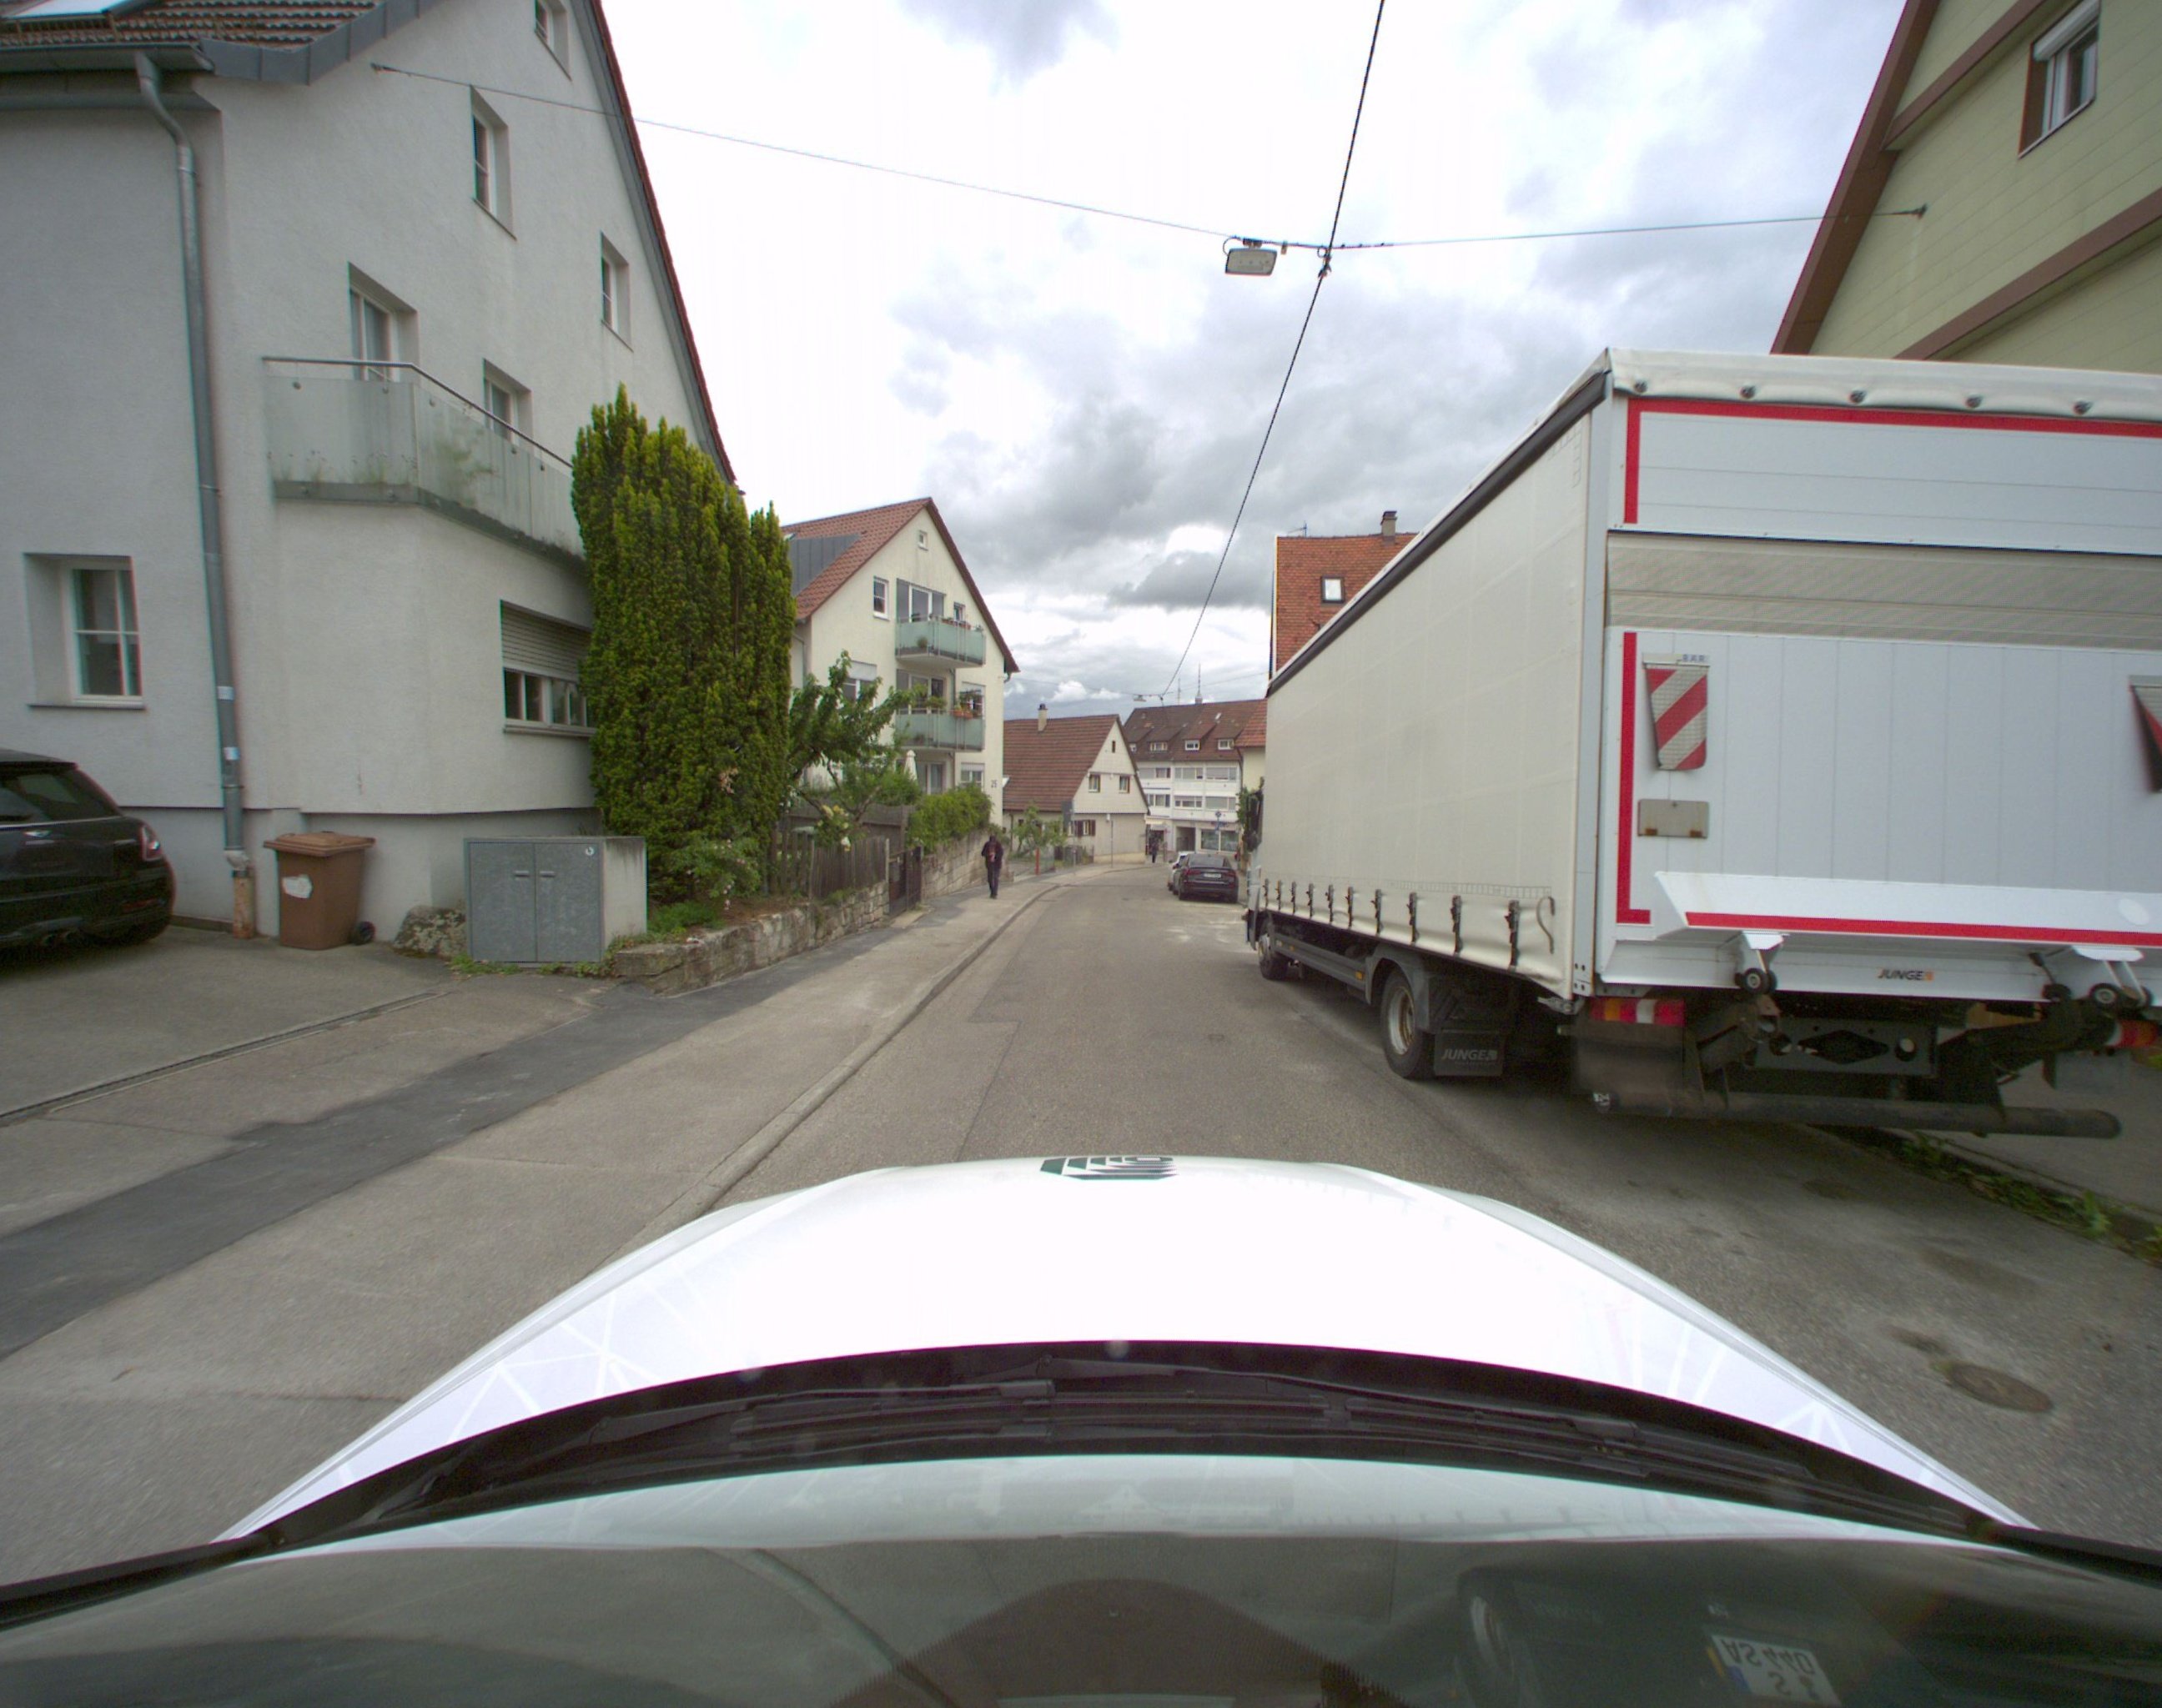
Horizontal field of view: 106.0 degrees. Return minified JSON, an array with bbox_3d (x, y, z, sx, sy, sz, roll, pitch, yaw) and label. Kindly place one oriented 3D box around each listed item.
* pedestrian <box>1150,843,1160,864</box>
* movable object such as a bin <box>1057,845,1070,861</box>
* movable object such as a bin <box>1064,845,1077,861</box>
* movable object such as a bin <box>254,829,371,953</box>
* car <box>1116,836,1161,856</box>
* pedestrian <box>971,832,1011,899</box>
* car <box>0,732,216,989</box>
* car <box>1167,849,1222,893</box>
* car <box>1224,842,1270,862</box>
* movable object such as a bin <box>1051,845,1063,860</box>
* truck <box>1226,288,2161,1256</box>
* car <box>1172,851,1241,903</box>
[{"bbox_3d":[5.995,-0.049,65.605,0.646,1.684,0.603,1,2,-7],"label":"pedestrian"},{"bbox_3d":[-1.061,-0.068,50.370,0.522,0.917,0.493,6,1,36],"label":"movable object such as a bin"},{"bbox_3d":[-0.631,-0.058,50.087,0.522,0.884,0.493,6,1,36],"label":"movable object such as a bin"},{"bbox_3d":[-6.349,0.293,6.741,0.510,0.901,0.432,8,6,1],"label":"movable object such as a bin"},{"bbox_3d":[5.680,-0.826,81.001,1.958,1.779,4.316,-1,3,-43],"label":"car"},{"bbox_3d":[-2.370,0.290,21.472,0.837,1.677,0.977,3,0,1],"label":"pedestrian"},{"bbox_3d":[-8.347,-0.128,5.456,3.388,1.468,1.627,7,5,2],"label":"car"},{"bbox_3d":[4.225,0.584,30.814,1.786,1.445,4.304,3,0,5],"label":"car"},{"bbox_3d":[14.652,-0.209,72.048,1.706,1.556,3.652,0,3,-42],"label":"car"},{"bbox_3d":[-1.467,-0.092,50.734,0.490,0.877,0.455,6,1,37],"label":"movable object such as a bin"},{"bbox_3d":[3.355,-0.330,7.141,2.667,3.597,8.105,2,0,0],"label":"truck"},{"bbox_3d":[3.842,0.651,25.519,1.667,1.408,4.055,3,0,3],"label":"car"}]
